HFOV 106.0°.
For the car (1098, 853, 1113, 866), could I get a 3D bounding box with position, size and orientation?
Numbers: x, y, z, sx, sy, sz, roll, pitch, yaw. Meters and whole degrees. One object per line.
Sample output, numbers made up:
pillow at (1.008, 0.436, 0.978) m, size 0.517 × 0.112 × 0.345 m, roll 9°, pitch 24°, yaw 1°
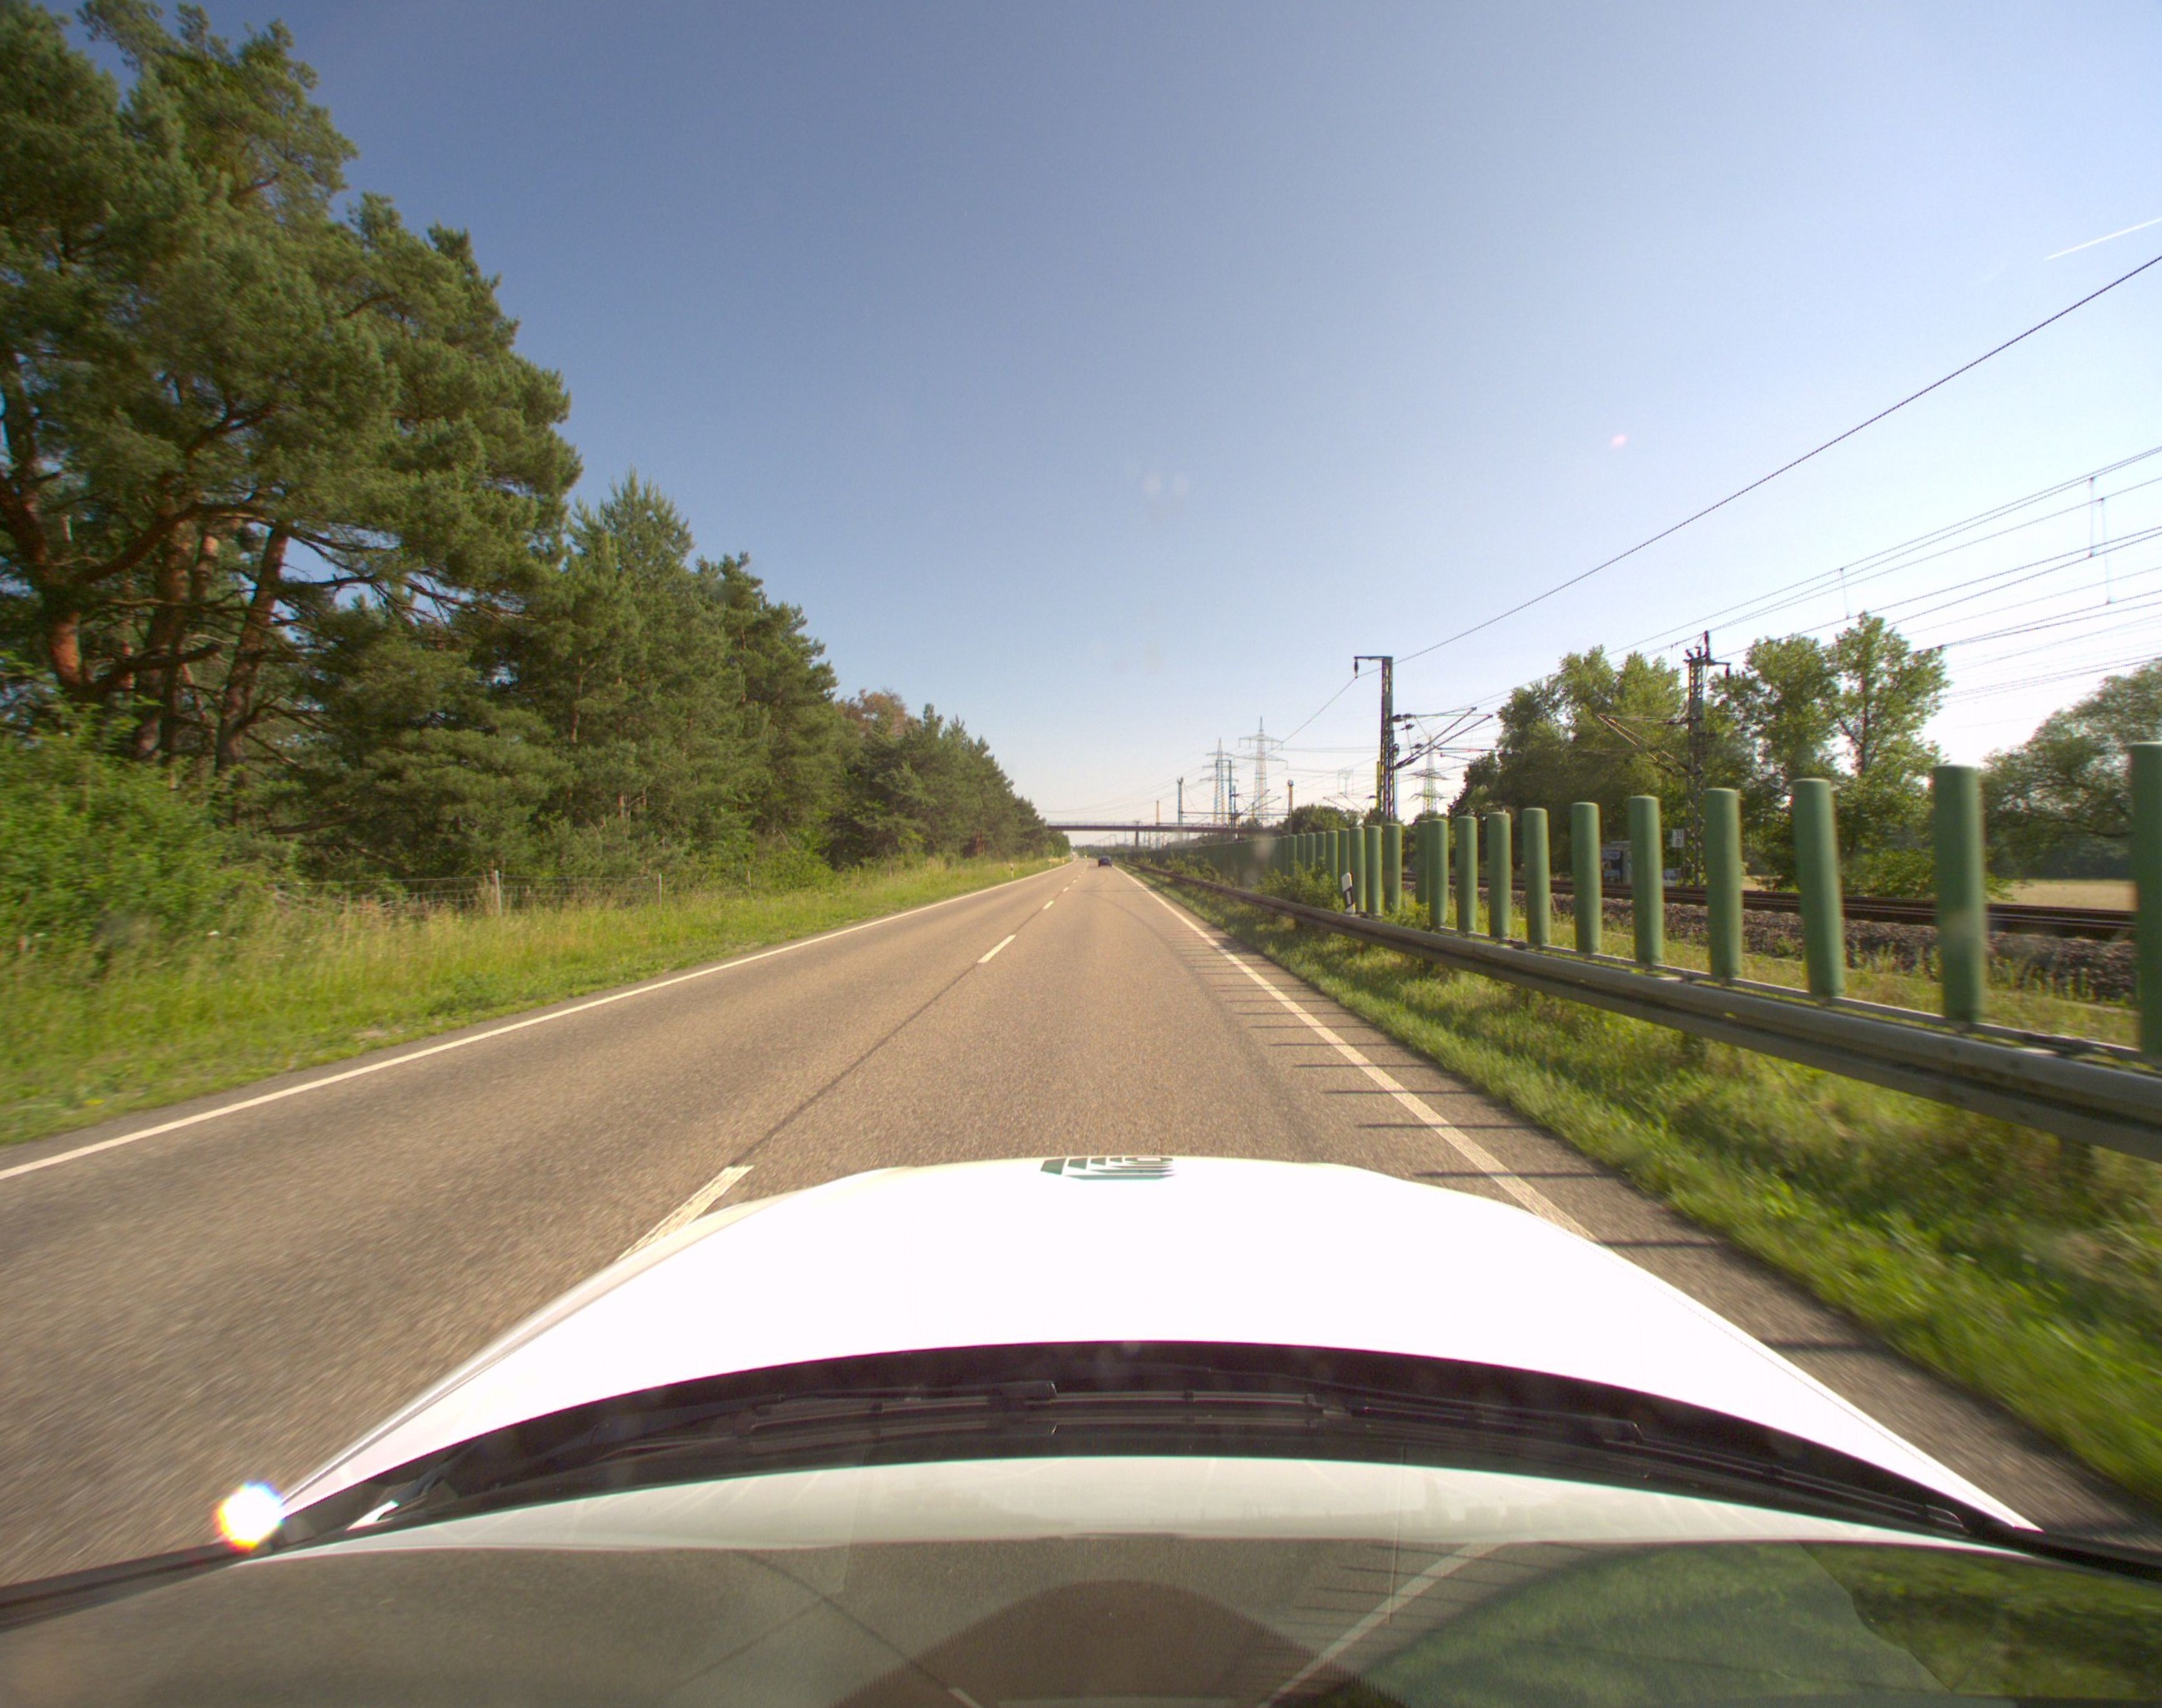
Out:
car at (3.293, 0.783, 109.757) m, size 1.853 × 1.642 × 3.999 m, roll -2°, pitch 0°, yaw -1°
